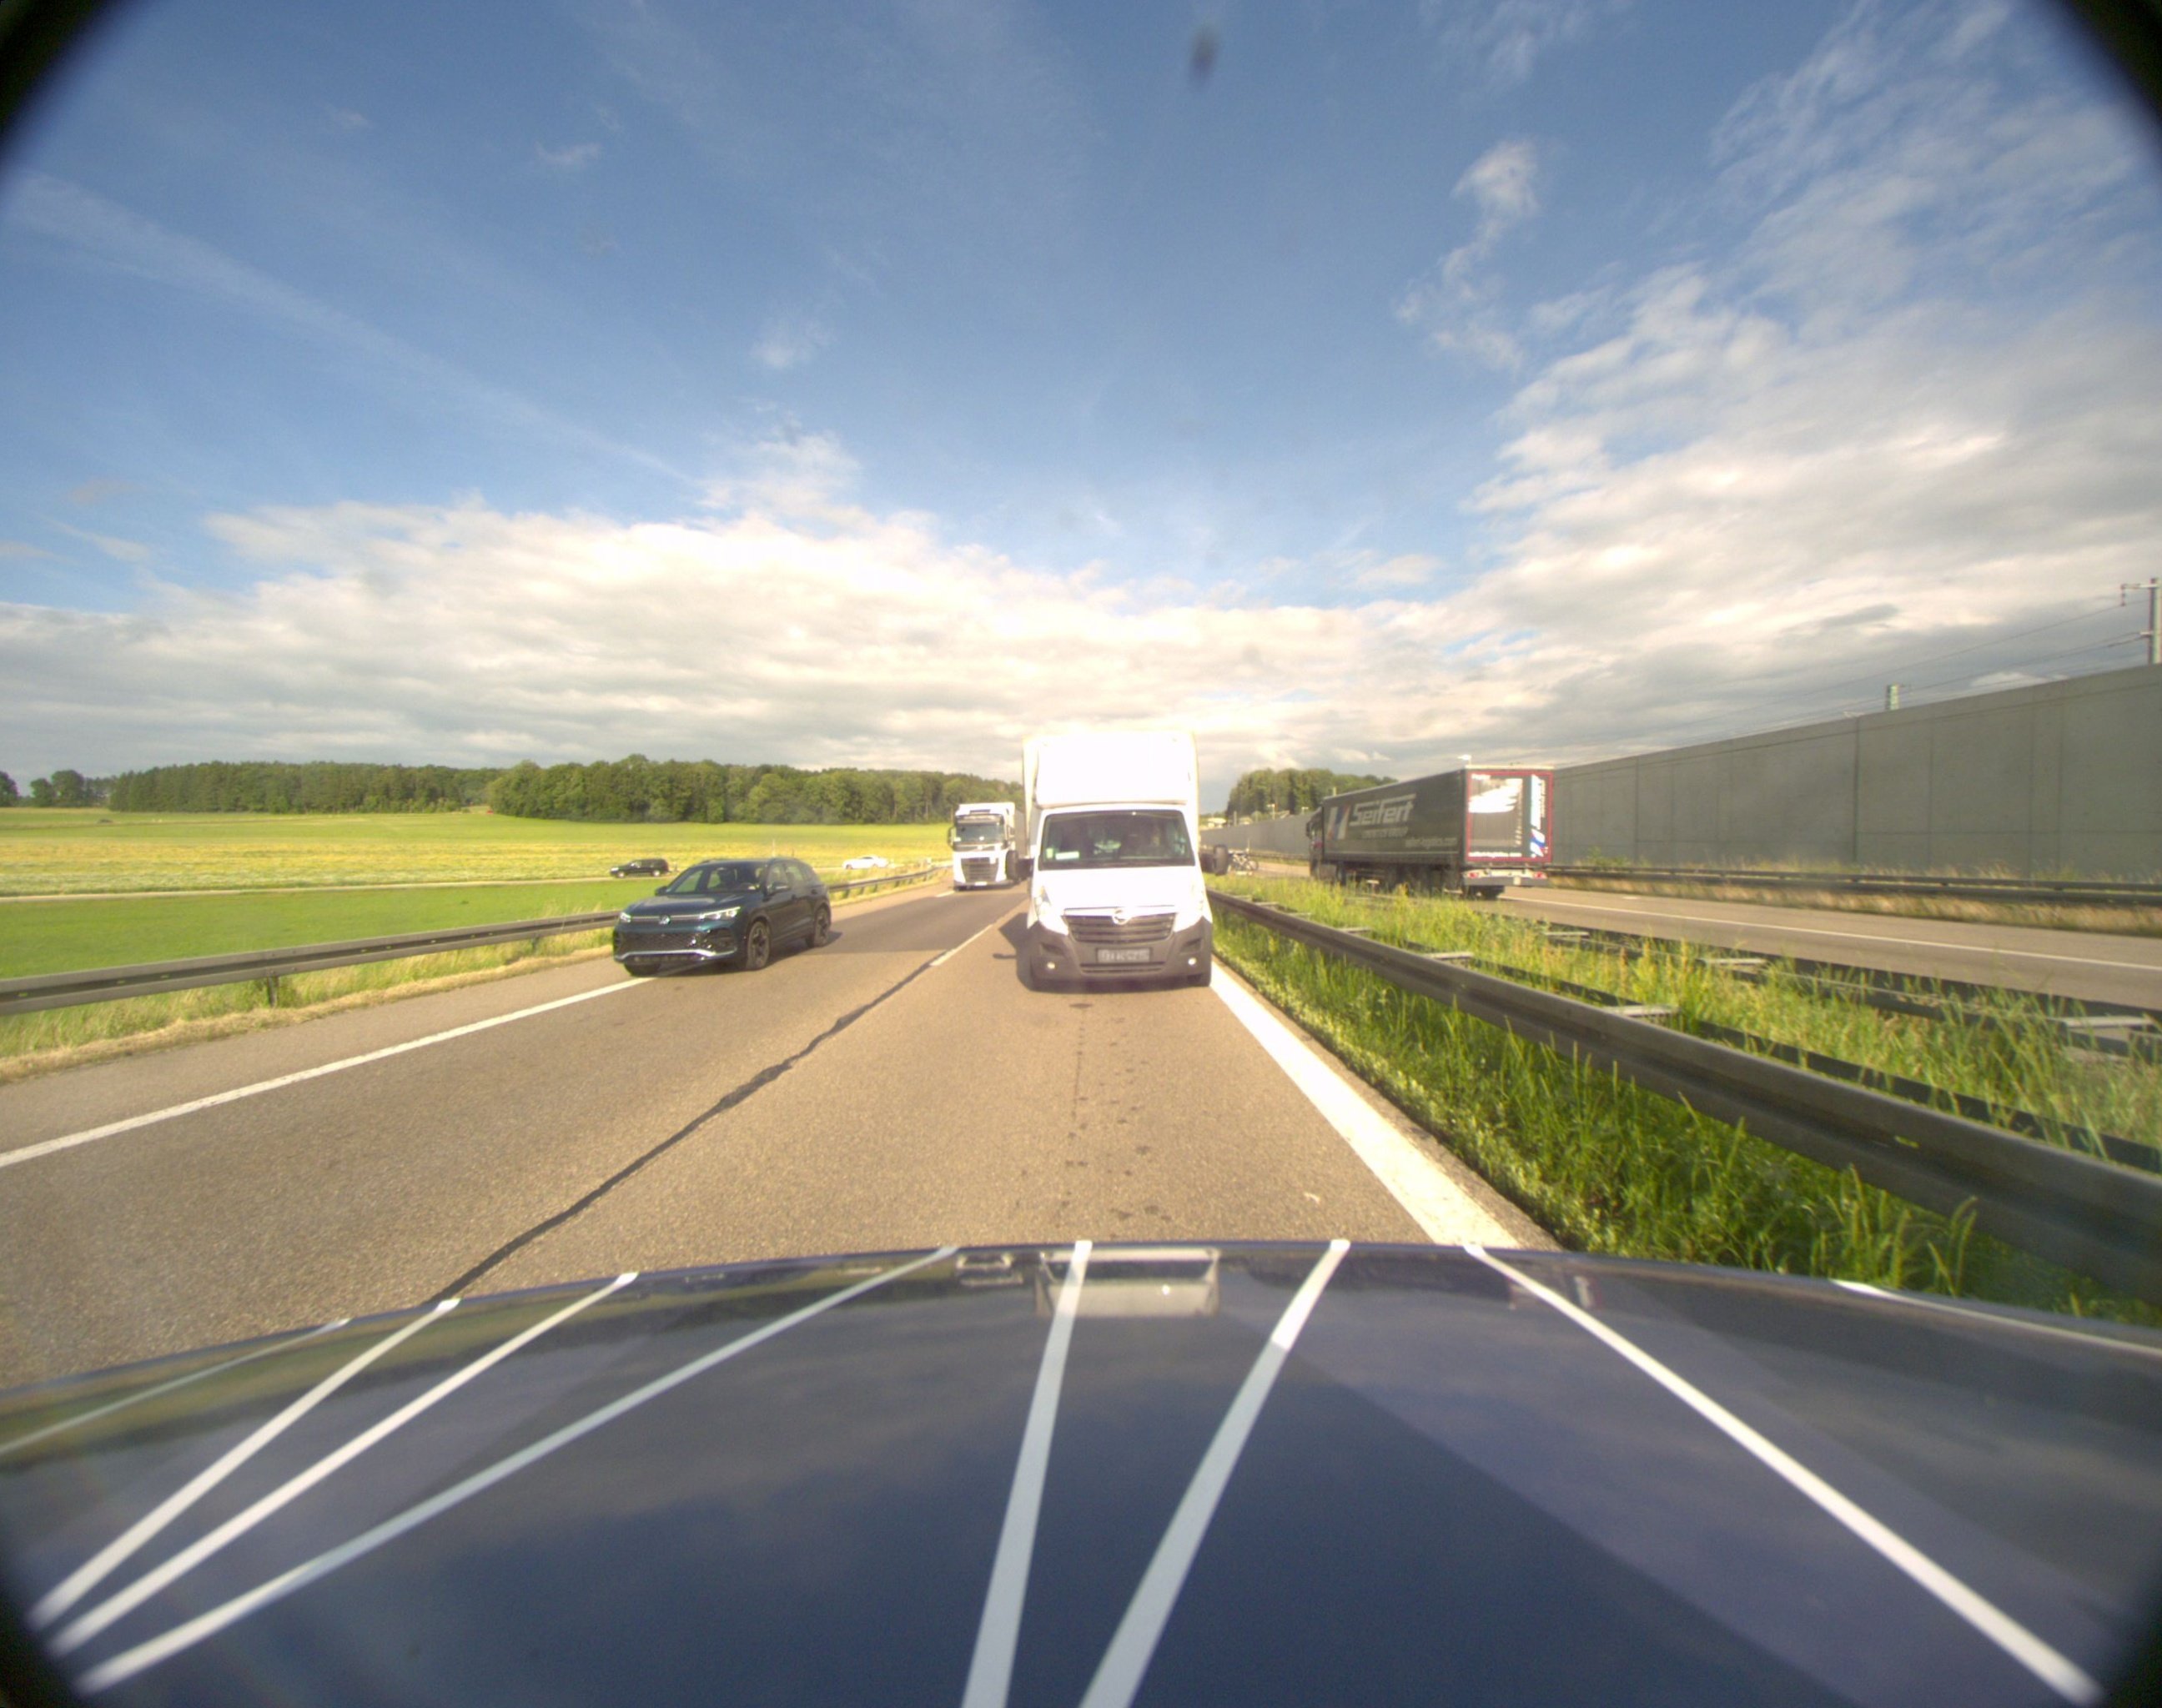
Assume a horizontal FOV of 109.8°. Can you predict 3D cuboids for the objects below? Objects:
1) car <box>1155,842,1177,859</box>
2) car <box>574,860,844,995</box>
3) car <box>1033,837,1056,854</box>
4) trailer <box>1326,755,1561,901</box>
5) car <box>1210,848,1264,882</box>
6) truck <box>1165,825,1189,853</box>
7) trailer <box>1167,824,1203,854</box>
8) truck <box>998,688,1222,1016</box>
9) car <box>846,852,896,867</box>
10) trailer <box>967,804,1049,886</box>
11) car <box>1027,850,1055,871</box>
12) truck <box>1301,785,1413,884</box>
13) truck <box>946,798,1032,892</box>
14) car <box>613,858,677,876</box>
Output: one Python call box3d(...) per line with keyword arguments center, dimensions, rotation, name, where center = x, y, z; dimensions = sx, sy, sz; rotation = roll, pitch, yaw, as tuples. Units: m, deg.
box3d(center=(9.500, -0.406, 85.463), dimensions=(1.998, 1.873, 4.786), rotation=(0, 1, 1), name="car")
box3d(center=(-5.474, 0.980, 11.915), dimensions=(1.998, 1.587, 4.119), rotation=(-2, 1, 3), name="car")
box3d(center=(-3.880, -0.902, 81.113), dimensions=(1.998, 1.647, 4.000), rotation=(-2, 1, 2), name="car")
box3d(center=(12.416, -0.833, 28.101), dimensions=(2.766, 4.091, 12.903), rotation=(-1, 1, 1), name="trailer")
box3d(center=(8.356, 0.546, 41.144), dimensions=(1.893, 1.622, 5.110), rotation=(-2, 1, 1), name="car")
box3d(center=(13.286, -2.020, 105.433), dimensions=(2.559, 3.776, 5.415), rotation=(0, 1, -2), name="truck")
box3d(center=(13.523, -1.960, 99.657), dimensions=(2.547, 3.749, 12.536), rotation=(0, 1, -2), name="trailer")
box3d(center=(0.467, -0.066, 11.220), dimensions=(2.059, 3.088, 7.804), rotation=(-2, 1, 3), name="truck")
box3d(center=(-23.621, 0.604, 85.615), dimensions=(5.078, 1.537, 1.999), rotation=(-2, 1, -3), name="car")
box3d(center=(-3.880, -0.536, 43.624), dimensions=(2.826, 3.959, 12.128), rotation=(-2, 1, 3), name="trailer")
box3d(center=(-3.339, 0.526, 63.900), dimensions=(1.998, 1.647, 4.000), rotation=(-2, 1, 2), name="car")
box3d(center=(12.594, -0.852, 35.350), dimensions=(2.761, 4.067, 6.952), rotation=(-1, 1, 1), name="truck")
box3d(center=(-4.198, -0.419, 36.039), dimensions=(2.842, 3.967, 6.501), rotation=(-2, 1, 3), name="truck")
box3d(center=(-42.749, 1.247, 74.600), dimensions=(5.130, 1.548, 1.995), rotation=(-3, 1, -39), name="car")
